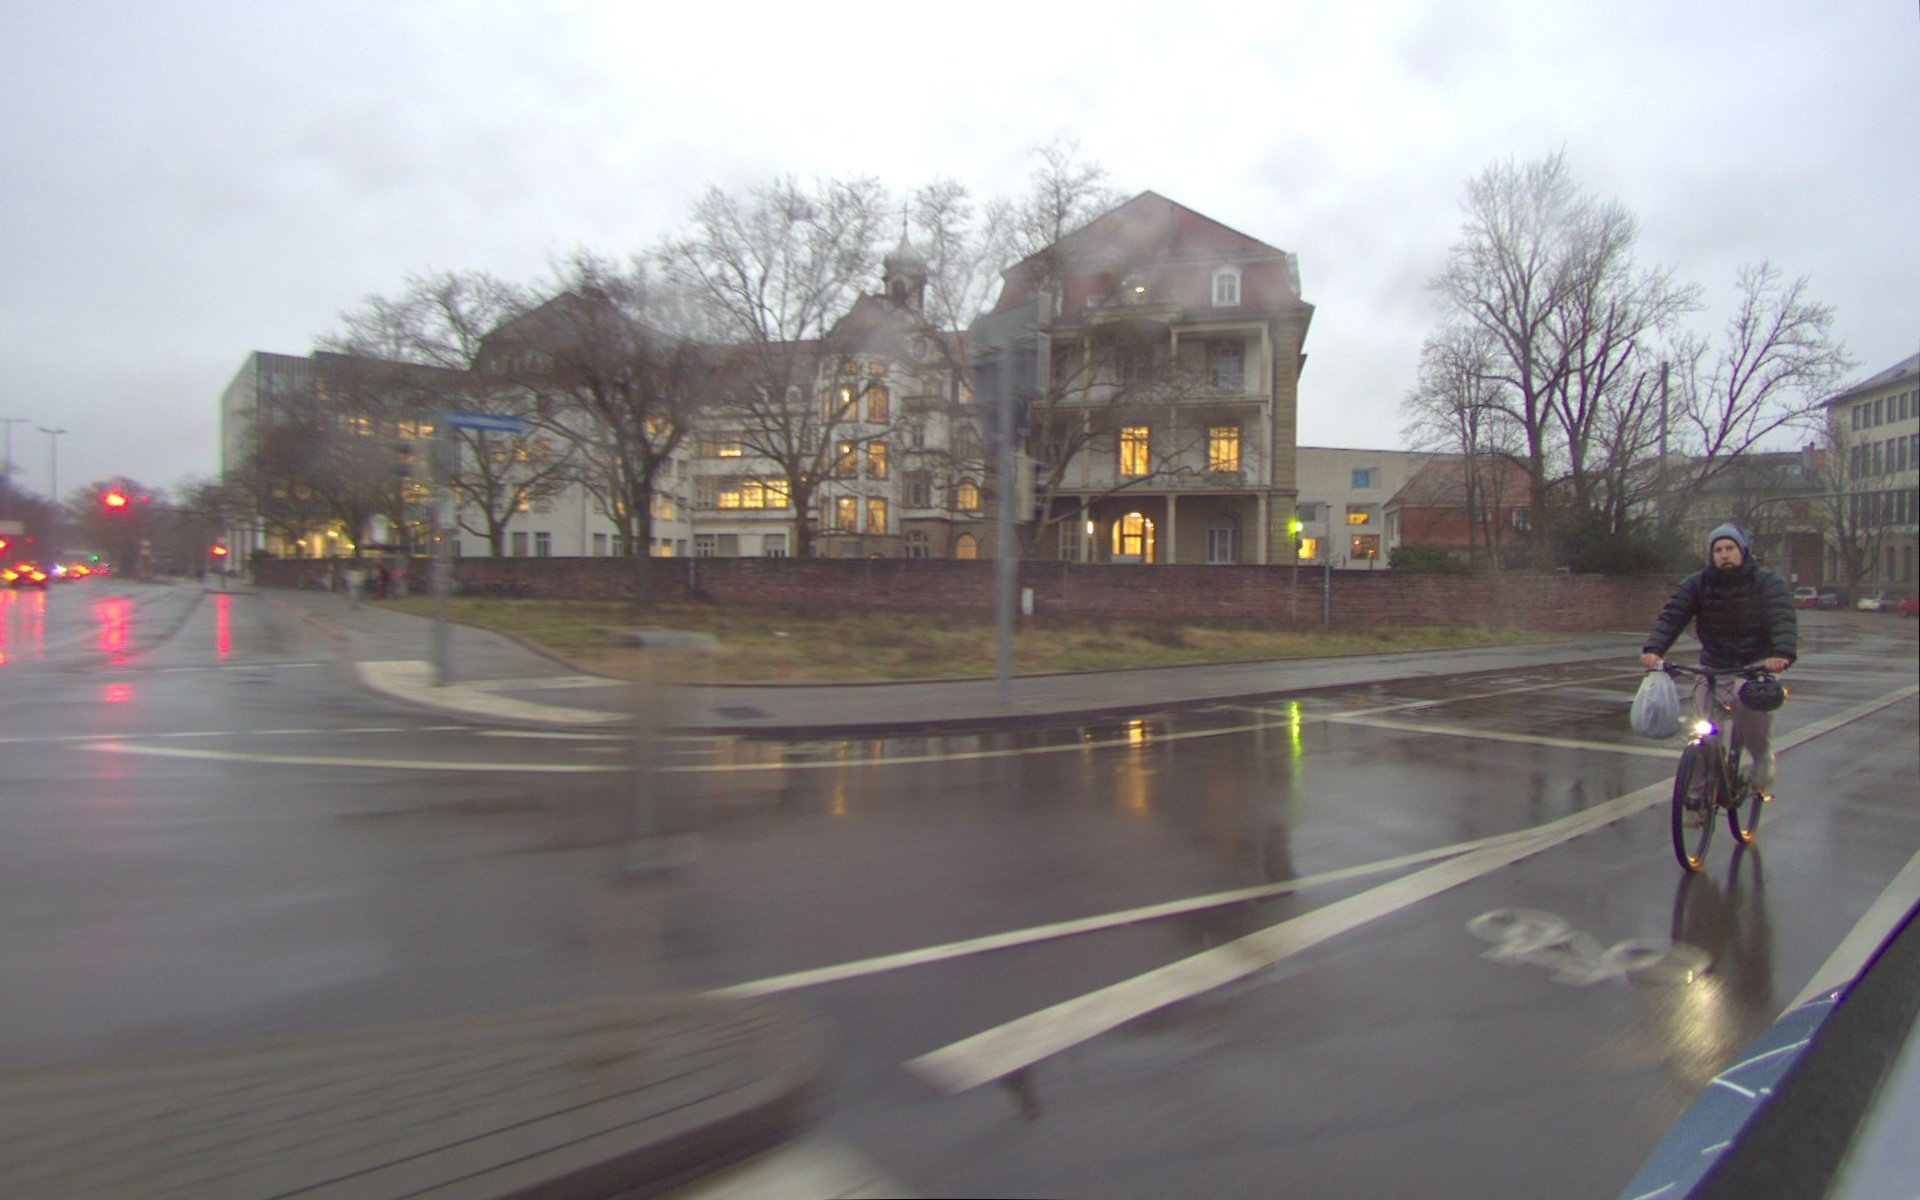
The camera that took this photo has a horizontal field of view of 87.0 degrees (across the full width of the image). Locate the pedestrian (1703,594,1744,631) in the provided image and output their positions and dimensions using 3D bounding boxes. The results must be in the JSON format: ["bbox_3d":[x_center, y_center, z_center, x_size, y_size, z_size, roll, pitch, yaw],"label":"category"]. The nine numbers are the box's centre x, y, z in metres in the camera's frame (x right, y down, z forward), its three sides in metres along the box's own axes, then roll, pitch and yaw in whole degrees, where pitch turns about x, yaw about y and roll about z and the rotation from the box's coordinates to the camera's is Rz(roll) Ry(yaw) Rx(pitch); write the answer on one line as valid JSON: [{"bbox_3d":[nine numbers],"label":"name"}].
[{"bbox_3d":[28.353,0.461,37.612,0.970,1.333,0.809,2,2,20],"label":"pedestrian"}]

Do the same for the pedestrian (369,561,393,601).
[{"bbox_3d":[-27.725,-0.911,48.463,0.794,1.853,0.947,0,2,-40],"label":"pedestrian"}]

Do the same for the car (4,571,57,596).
[{"bbox_3d":[-62.189,-1.127,67.778,1.962,1.587,4.471,2,0,-35],"label":"car"}]

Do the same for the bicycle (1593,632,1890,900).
[{"bbox_3d":[4.653,0.877,5.998,1.867,1.237,0.795,-2,2,-32],"label":"bicycle"}]

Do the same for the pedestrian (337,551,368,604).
[{"bbox_3d":[-21.704,-0.816,36.171,0.794,1.853,0.947,0,2,-40],"label":"pedestrian"}]

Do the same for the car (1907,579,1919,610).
[{"bbox_3d":[63.733,-0.288,64.913,2.107,2.036,4.559,2,2,10],"label":"car"}]

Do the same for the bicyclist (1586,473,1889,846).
[{"bbox_3d":[4.522,0.277,5.915,1.211,1.906,1.028,-2,2,-31],"label":"bicyclist"}]

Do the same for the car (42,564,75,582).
[{"bbox_3d":[-87.213,-2.603,97.949,1.962,1.587,4.470,1,0,-36],"label":"car"}]

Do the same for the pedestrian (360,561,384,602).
[{"bbox_3d":[-27.353,-0.858,47.069,0.794,1.853,0.947,0,2,-40],"label":"pedestrian"}]

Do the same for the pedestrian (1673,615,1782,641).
[{"bbox_3d":[28.432,1.029,37.552,3.061,0.942,0.942,-1,-1,21],"label":"pedestrian"}]
